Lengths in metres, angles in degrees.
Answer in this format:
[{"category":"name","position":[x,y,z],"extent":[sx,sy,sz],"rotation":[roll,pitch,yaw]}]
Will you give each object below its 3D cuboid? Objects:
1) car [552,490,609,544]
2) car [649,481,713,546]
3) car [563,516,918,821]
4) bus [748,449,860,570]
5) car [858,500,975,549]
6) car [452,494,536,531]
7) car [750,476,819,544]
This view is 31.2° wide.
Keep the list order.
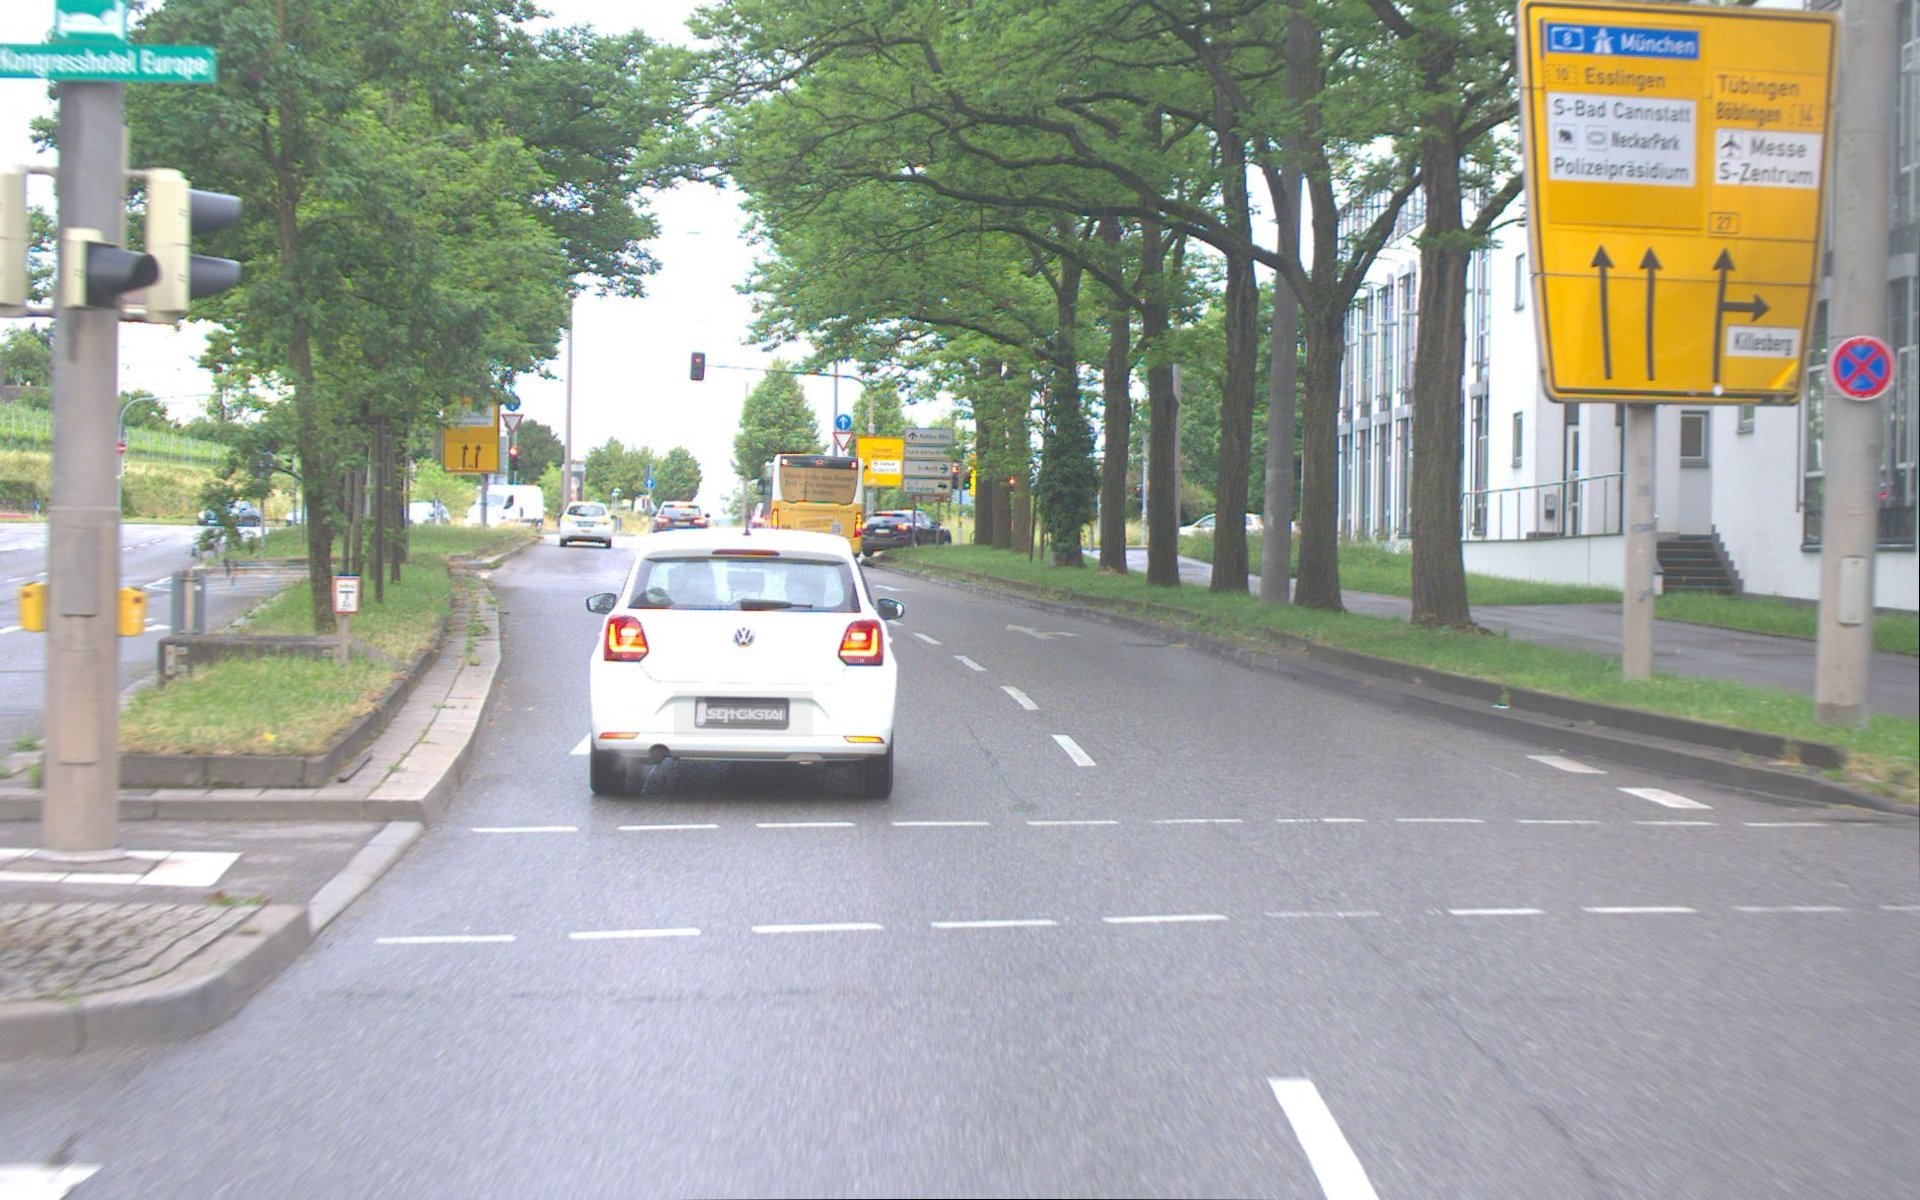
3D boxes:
[{"category":"car","position":[-12.446,-2.700,113.028],"extent":[1.794,1.735,4.001],"rotation":[0,1,-5]},{"category":"car","position":[-9.051,-2.786,111.510],"extent":[1.993,2.007,4.001],"rotation":[1,1,-5]},{"category":"car","position":[-1.258,0.310,19.847],"extent":[1.794,1.497,4.001],"rotation":[2,2,-3]},{"category":"bus","position":[-4.580,-2.627,99.108],"extent":[2.827,3.255,10.002],"rotation":[1,2,-5]},{"category":"car","position":[-1.393,-2.431,111.543],"extent":[1.699,1.510,3.818],"rotation":[1,1,41]},{"category":"car","position":[-25.882,-4.853,191.208],"extent":[1.996,2.006,5.704],"rotation":[1,2,23]},{"category":"car","position":[-5.481,-2.781,106.895],"extent":[1.993,2.007,4.001],"rotation":[1,1,-5]}]
